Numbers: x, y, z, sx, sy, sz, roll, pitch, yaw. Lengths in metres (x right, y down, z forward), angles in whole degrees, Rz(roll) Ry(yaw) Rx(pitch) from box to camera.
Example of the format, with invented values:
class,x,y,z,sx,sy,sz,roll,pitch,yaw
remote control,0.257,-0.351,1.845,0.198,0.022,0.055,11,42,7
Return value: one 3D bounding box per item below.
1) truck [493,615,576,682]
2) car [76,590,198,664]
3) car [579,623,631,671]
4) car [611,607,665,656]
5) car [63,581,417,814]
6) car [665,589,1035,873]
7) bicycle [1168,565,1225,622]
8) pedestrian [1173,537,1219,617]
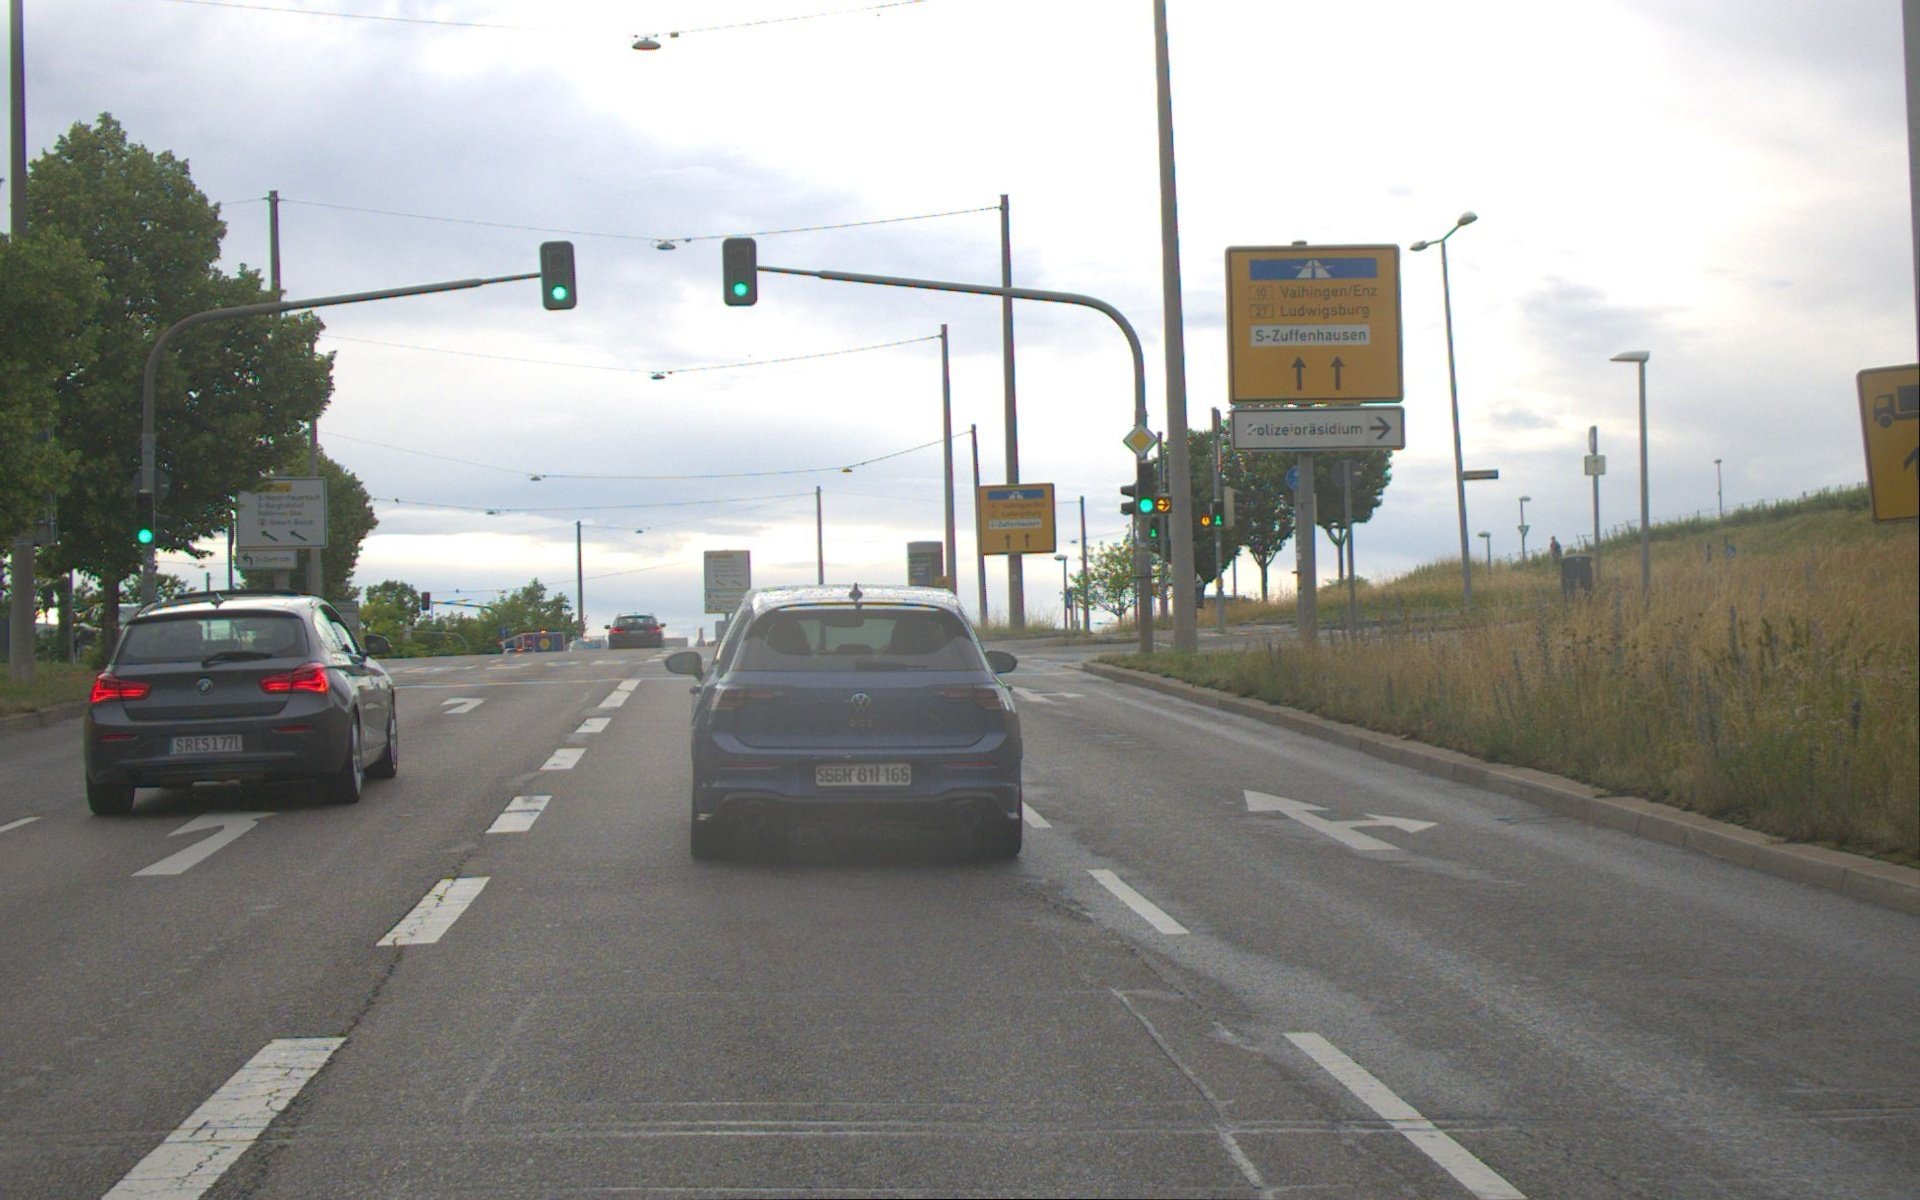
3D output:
class,x,y,z,sx,sy,sz,roll,pitch,yaw
truck,-21.635,2.495,174.582,2.665,3.209,6.549,1,-3,-21
car,-18.596,0.581,77.600,1.889,1.502,4.001,0,2,-25
car,-16.406,2.192,158.737,1.904,1.966,5.093,-2,-3,-11
car,-10.689,1.039,114.254,1.721,1.536,3.704,1,0,-4
car,-4.925,0.618,24.013,1.869,1.456,3.976,-1,0,-4
car,-0.653,0.651,19.249,1.838,1.389,4.000,-1,0,-3
bicycle,4.691,-0.123,68.326,0.632,1.101,1.754,-2,0,-12
pedestrian,4.690,-0.451,68.226,0.632,1.565,0.896,-2,0,-11
